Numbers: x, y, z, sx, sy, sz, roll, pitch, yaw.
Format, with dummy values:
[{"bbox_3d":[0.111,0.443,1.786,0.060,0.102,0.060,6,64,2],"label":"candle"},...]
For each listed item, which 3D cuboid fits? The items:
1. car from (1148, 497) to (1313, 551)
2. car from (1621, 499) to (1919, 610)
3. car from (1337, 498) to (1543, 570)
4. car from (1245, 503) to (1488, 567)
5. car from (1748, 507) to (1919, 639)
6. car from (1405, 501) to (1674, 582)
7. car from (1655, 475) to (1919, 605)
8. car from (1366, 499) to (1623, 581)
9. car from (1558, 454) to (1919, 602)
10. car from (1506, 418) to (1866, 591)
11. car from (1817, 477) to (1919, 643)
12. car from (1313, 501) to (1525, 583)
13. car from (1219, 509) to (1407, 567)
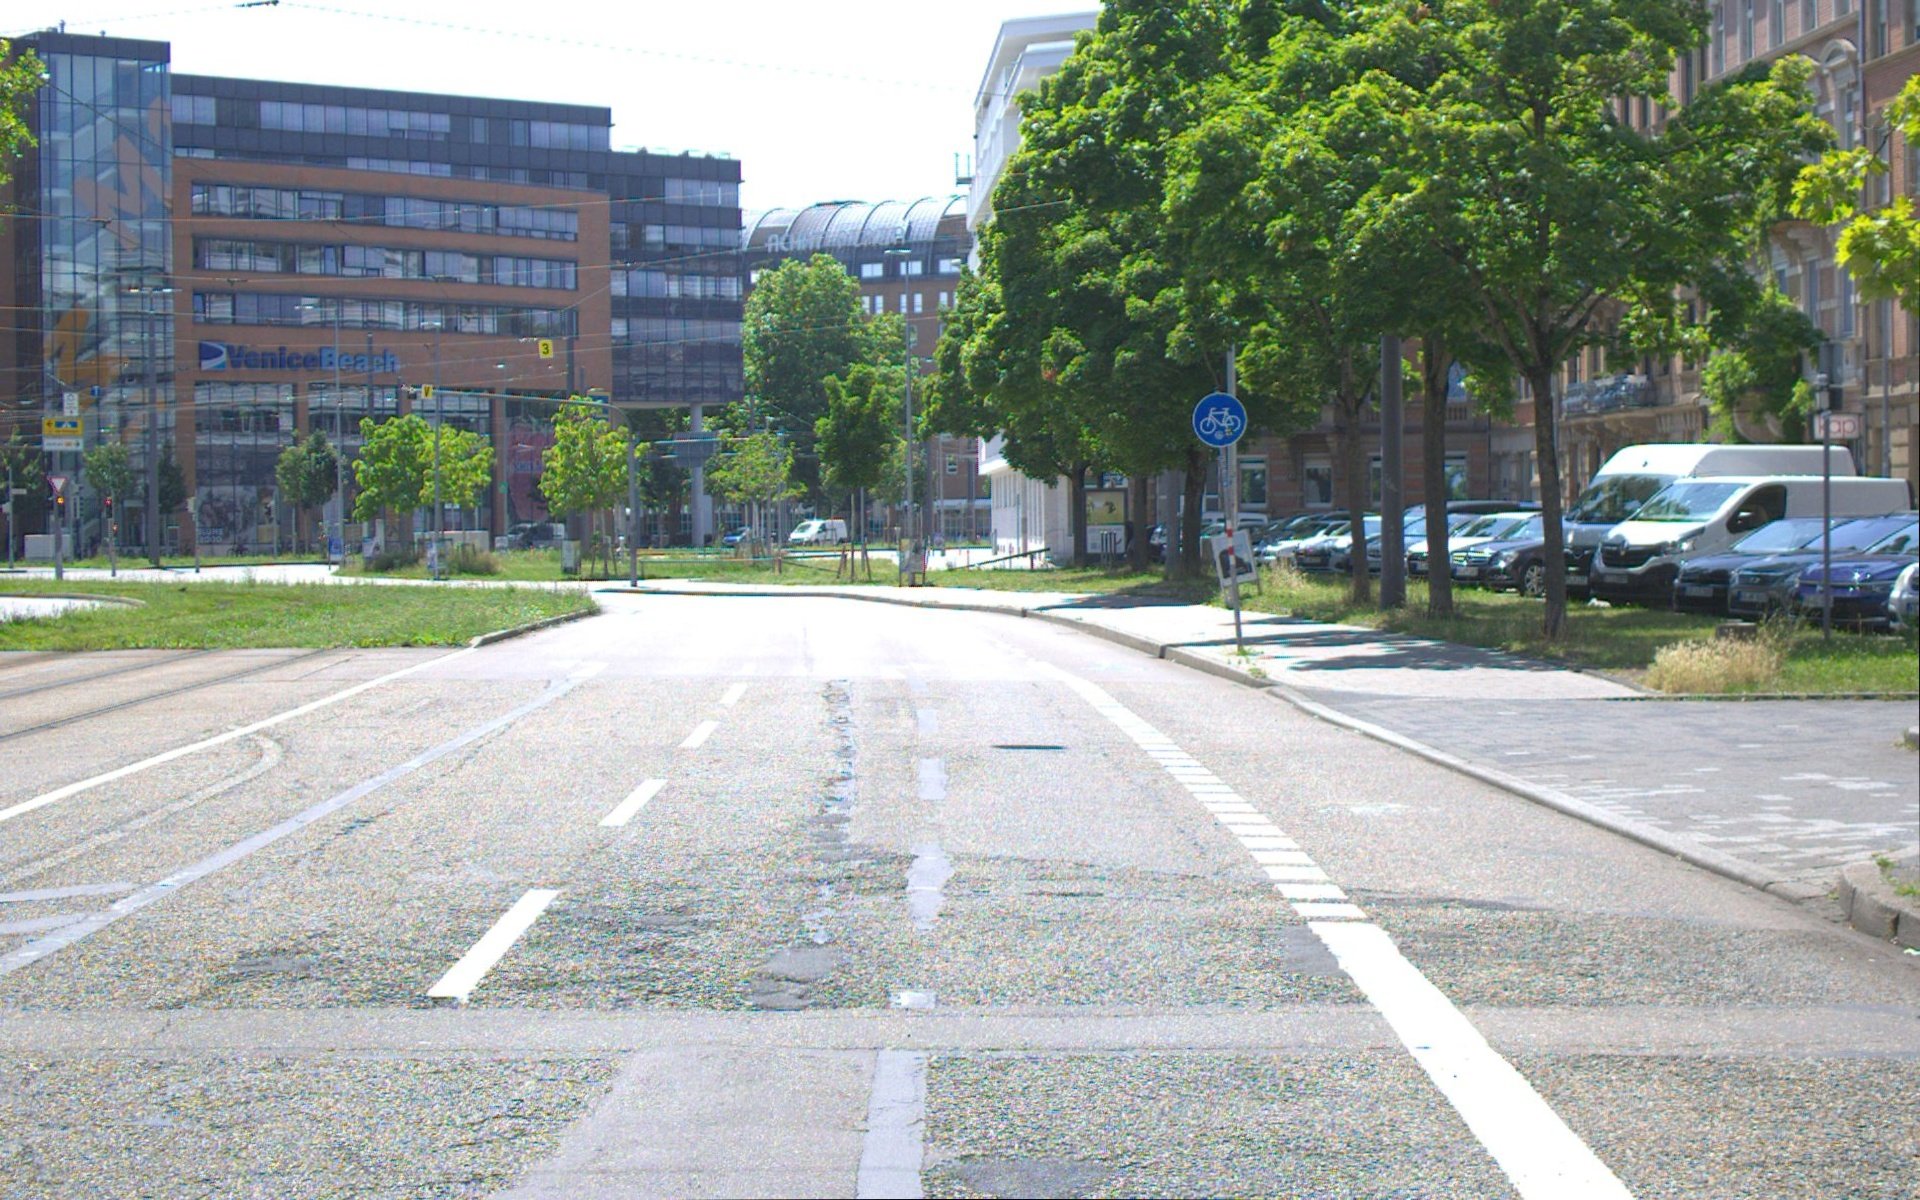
[{"bbox_3d":[8.397,-2.348,106.598,4.858,1.595,1.836,0,1,-29],"label":"car"},{"bbox_3d":[10.765,-0.586,44.511,3.986,1.382,1.824,0,1,-23],"label":"car"},{"bbox_3d":[9.671,-1.326,69.171,3.987,1.395,1.712,0,1,-35],"label":"car"},{"bbox_3d":[8.801,-1.401,74.403,4.771,1.309,2.150,0,1,-24],"label":"car"},{"bbox_3d":[10.950,-0.301,38.119,3.986,1.394,1.824,0,1,-23],"label":"car"},{"bbox_3d":[10.008,-0.998,59.243,4.418,1.334,1.972,0,1,-34],"label":"car"},{"bbox_3d":[10.854,-0.711,41.396,4.617,1.492,1.966,0,1,-26],"label":"car"},{"bbox_3d":[9.777,-1.089,62.703,4.679,1.422,1.972,0,2,-39],"label":"car"},{"bbox_3d":[10.897,-0.983,47.944,4.832,1.966,2.077,0,1,-31],"label":"car"},{"bbox_3d":[10.907,-1.392,51.454,5.535,2.452,2.237,0,1,-39],"label":"car"},{"bbox_3d":[11.193,-0.400,35.141,4.397,1.626,2.001,0,1,-24],"label":"car"},{"bbox_3d":[9.656,-1.226,72.258,3.986,1.656,1.972,0,1,-28],"label":"car"},{"bbox_3d":[8.416,-1.485,82.041,3.986,1.309,1.973,0,1,-24],"label":"car"}]
